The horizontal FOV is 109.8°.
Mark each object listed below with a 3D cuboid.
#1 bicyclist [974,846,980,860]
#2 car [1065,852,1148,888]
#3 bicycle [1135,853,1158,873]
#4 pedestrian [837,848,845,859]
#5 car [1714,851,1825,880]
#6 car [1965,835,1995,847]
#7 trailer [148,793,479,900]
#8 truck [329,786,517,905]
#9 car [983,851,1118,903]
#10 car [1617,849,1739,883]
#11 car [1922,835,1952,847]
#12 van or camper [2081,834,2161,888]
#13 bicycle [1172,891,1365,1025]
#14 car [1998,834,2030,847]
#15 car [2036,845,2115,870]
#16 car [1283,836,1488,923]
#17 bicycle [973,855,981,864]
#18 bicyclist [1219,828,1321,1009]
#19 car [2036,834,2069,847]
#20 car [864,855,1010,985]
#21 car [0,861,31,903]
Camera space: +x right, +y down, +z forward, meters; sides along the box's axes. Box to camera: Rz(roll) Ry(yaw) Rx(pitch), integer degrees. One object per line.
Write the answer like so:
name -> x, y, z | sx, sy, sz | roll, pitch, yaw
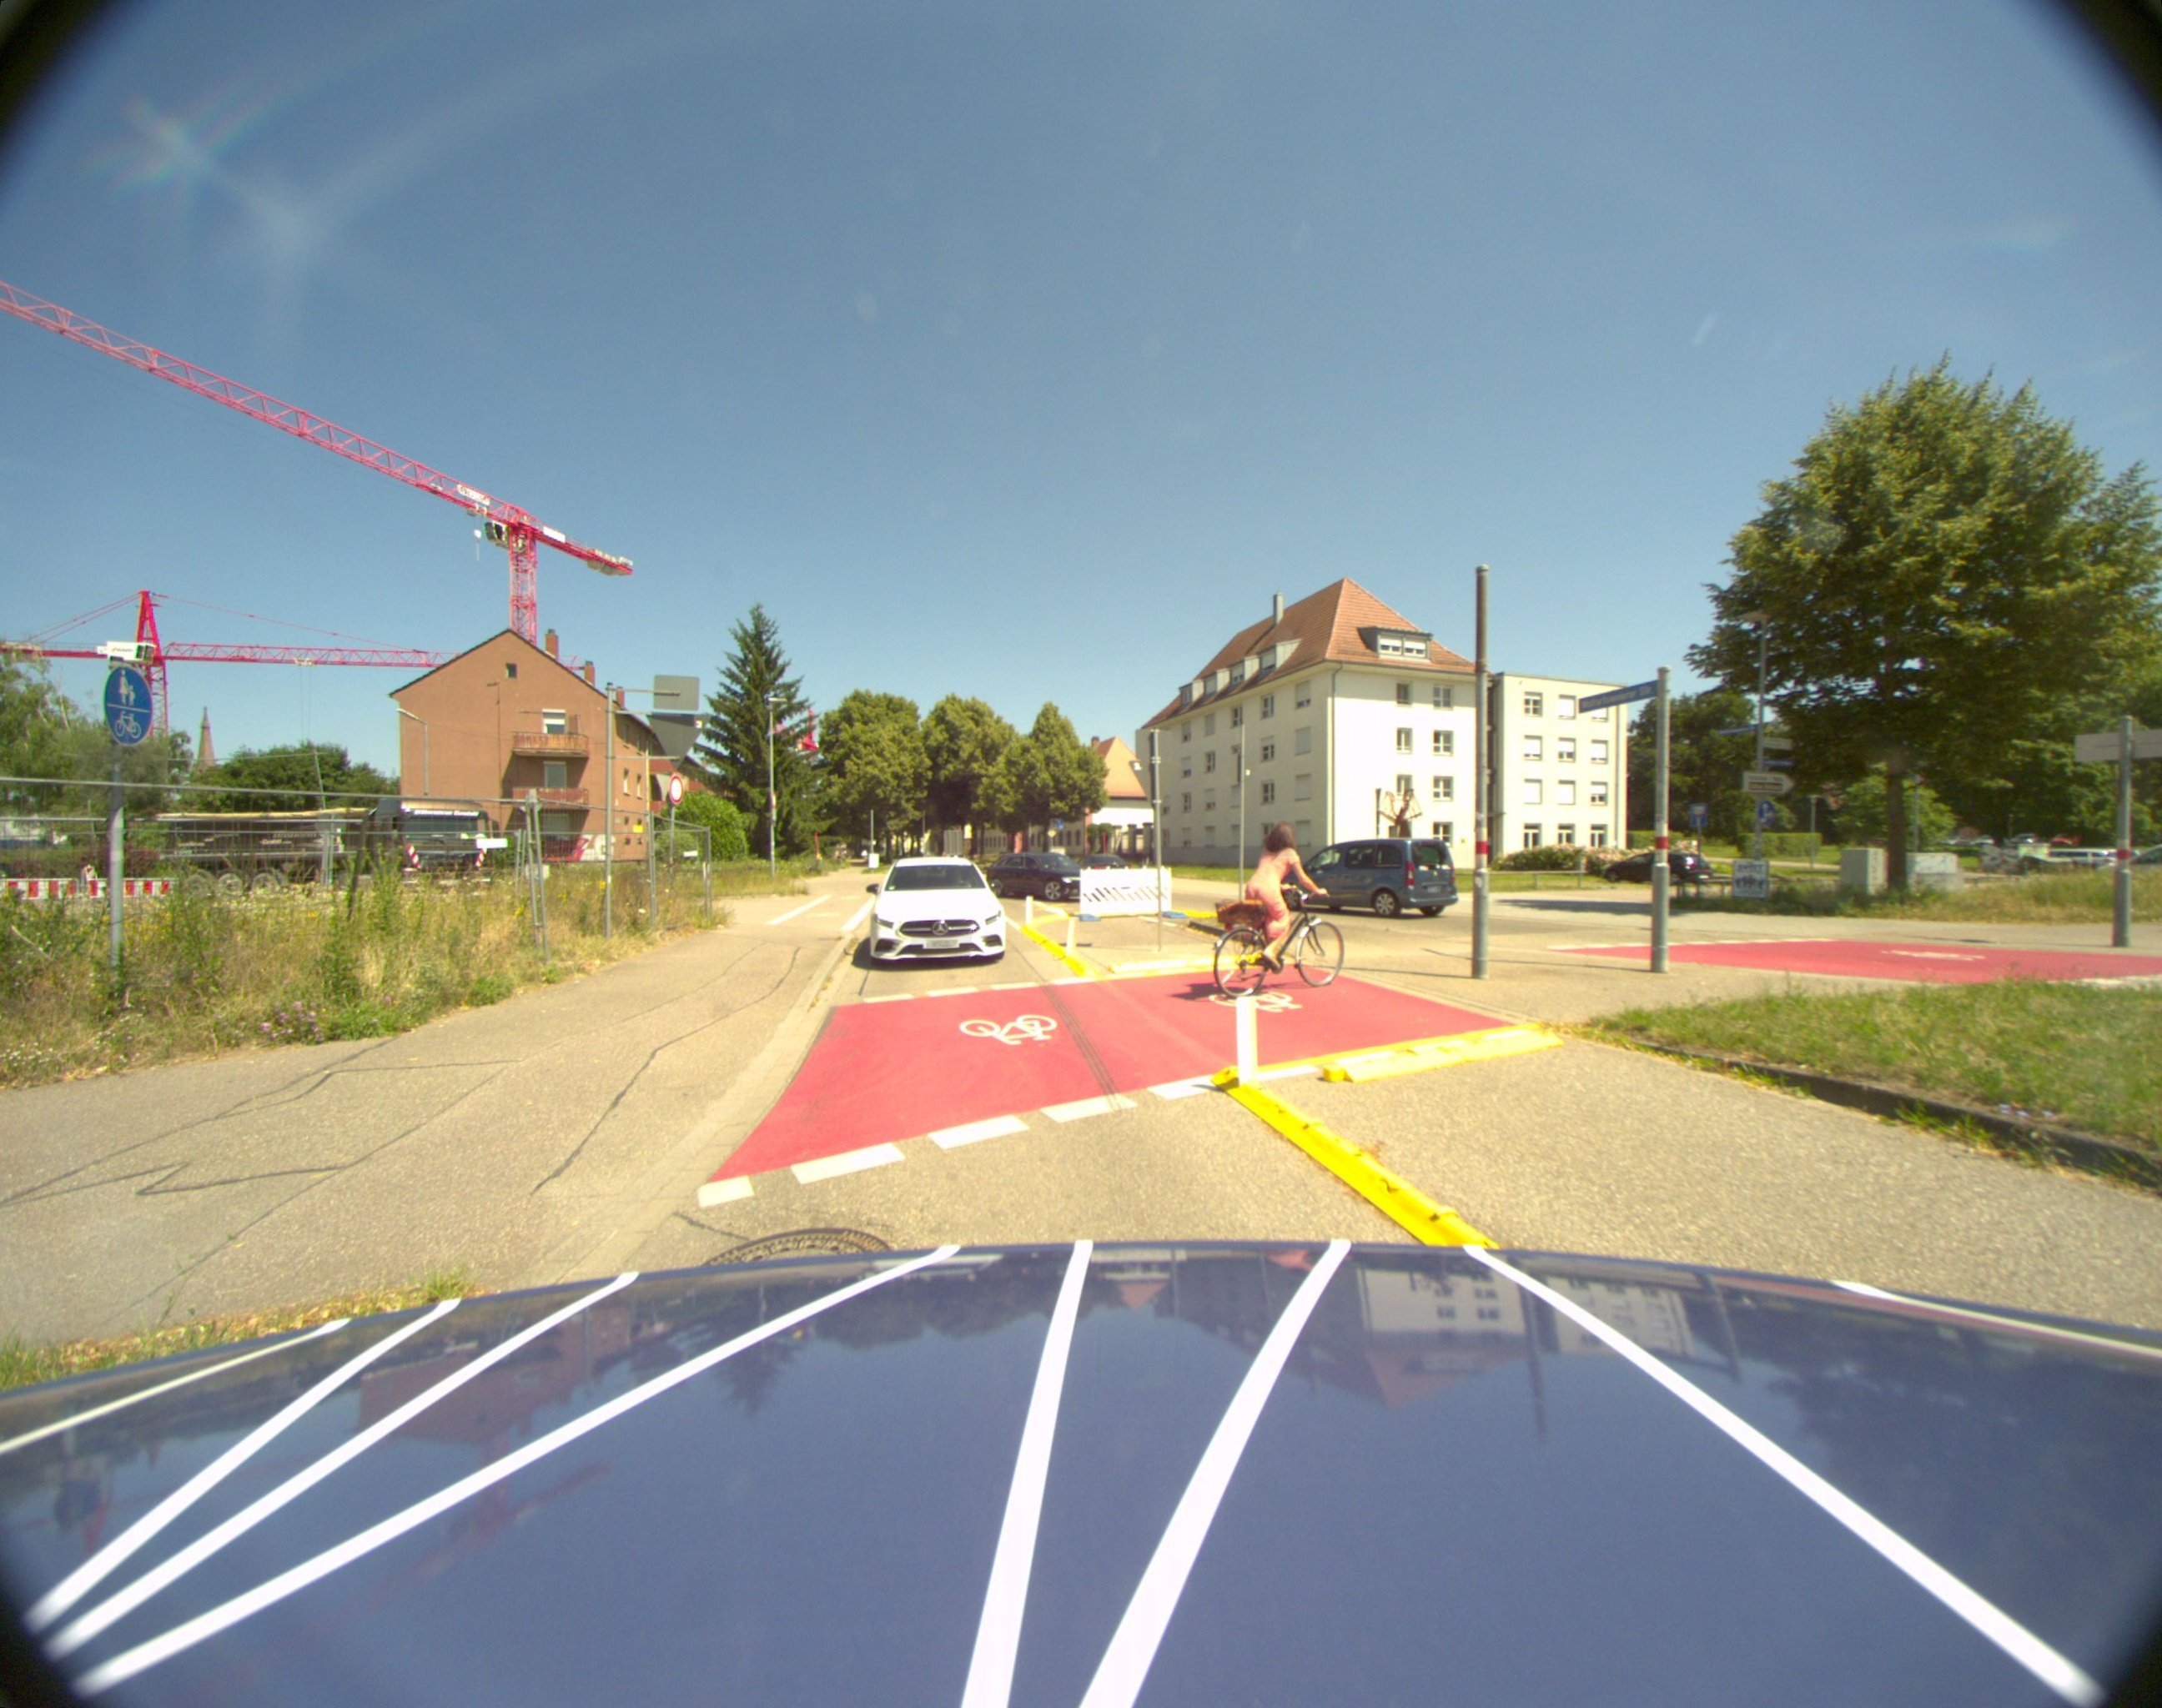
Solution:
bicyclist -> -11.657, -0.089, 85.347 | 0.569, 1.601, 0.739 | -1, 1, -18
car -> 0.980, 0.617, 32.044 | 1.725, 1.404, 4.609 | -1, 1, -23
bicycle -> 3.700, 0.506, 43.183 | 0.710, 1.018, 1.983 | -3, 2, -12
pedestrian -> -33.795, -0.043, 106.848 | 1.025, 1.509, 0.681 | -1, 1, -12
car -> 31.021, 0.465, 34.348 | 1.358, 1.210, 3.508 | -1, 1, -18
car -> 105.699, -1.551, 89.351 | 3.031, 1.408, 1.476 | -1, 1, -23
trailer -> -26.804, -0.231, 26.796 | 8.981, 3.512, 3.166 | 0, 1, 6
truck -> -21.770, -0.264, 25.163 | 4.951, 3.512, 3.170 | 0, 1, 30
car -> -1.062, 0.660, 23.674 | 1.805, 1.443, 4.605 | -1, 1, -39
car -> 25.299, 0.471, 32.343 | 1.661, 1.319, 3.801 | -1, 1, -18
car -> 103.543, -1.555, 91.892 | 3.031, 1.408, 1.476 | -1, 1, -23
van or camper -> 38.134, 0.254, 25.429 | 2.002, 1.847, 5.263 | -1, 1, -19
bicycle -> 1.892, 0.964, 7.488 | 2.091, 1.052, 0.438 | -3, 3, -29
car -> 106.466, -1.509, 86.685 | 3.031, 1.408, 1.476 | -1, 1, -23
car -> 57.108, 0.177, 43.687 | 1.084, 1.350, 2.526 | -1, 1, -12
car -> 6.867, 0.524, 17.564 | 1.692, 1.759, 4.194 | 1, 0, -32
bicycle -> -11.670, 0.596, 85.403 | 0.563, 0.910, 1.905 | -1, 1, -18
bicyclist -> 1.836, 0.586, 7.412 | 0.711, 1.655, 0.644 | -2, 3, -26
car -> 107.434, -1.485, 84.026 | 3.031, 1.408, 1.476 | -1, 1, -23
car -> -2.190, 0.818, 11.468 | 1.782, 1.536, 3.958 | -1, 1, -12
car -> -43.494, 1.084, 29.538 | 3.416, 1.604, 1.370 | 0, 1, 0
